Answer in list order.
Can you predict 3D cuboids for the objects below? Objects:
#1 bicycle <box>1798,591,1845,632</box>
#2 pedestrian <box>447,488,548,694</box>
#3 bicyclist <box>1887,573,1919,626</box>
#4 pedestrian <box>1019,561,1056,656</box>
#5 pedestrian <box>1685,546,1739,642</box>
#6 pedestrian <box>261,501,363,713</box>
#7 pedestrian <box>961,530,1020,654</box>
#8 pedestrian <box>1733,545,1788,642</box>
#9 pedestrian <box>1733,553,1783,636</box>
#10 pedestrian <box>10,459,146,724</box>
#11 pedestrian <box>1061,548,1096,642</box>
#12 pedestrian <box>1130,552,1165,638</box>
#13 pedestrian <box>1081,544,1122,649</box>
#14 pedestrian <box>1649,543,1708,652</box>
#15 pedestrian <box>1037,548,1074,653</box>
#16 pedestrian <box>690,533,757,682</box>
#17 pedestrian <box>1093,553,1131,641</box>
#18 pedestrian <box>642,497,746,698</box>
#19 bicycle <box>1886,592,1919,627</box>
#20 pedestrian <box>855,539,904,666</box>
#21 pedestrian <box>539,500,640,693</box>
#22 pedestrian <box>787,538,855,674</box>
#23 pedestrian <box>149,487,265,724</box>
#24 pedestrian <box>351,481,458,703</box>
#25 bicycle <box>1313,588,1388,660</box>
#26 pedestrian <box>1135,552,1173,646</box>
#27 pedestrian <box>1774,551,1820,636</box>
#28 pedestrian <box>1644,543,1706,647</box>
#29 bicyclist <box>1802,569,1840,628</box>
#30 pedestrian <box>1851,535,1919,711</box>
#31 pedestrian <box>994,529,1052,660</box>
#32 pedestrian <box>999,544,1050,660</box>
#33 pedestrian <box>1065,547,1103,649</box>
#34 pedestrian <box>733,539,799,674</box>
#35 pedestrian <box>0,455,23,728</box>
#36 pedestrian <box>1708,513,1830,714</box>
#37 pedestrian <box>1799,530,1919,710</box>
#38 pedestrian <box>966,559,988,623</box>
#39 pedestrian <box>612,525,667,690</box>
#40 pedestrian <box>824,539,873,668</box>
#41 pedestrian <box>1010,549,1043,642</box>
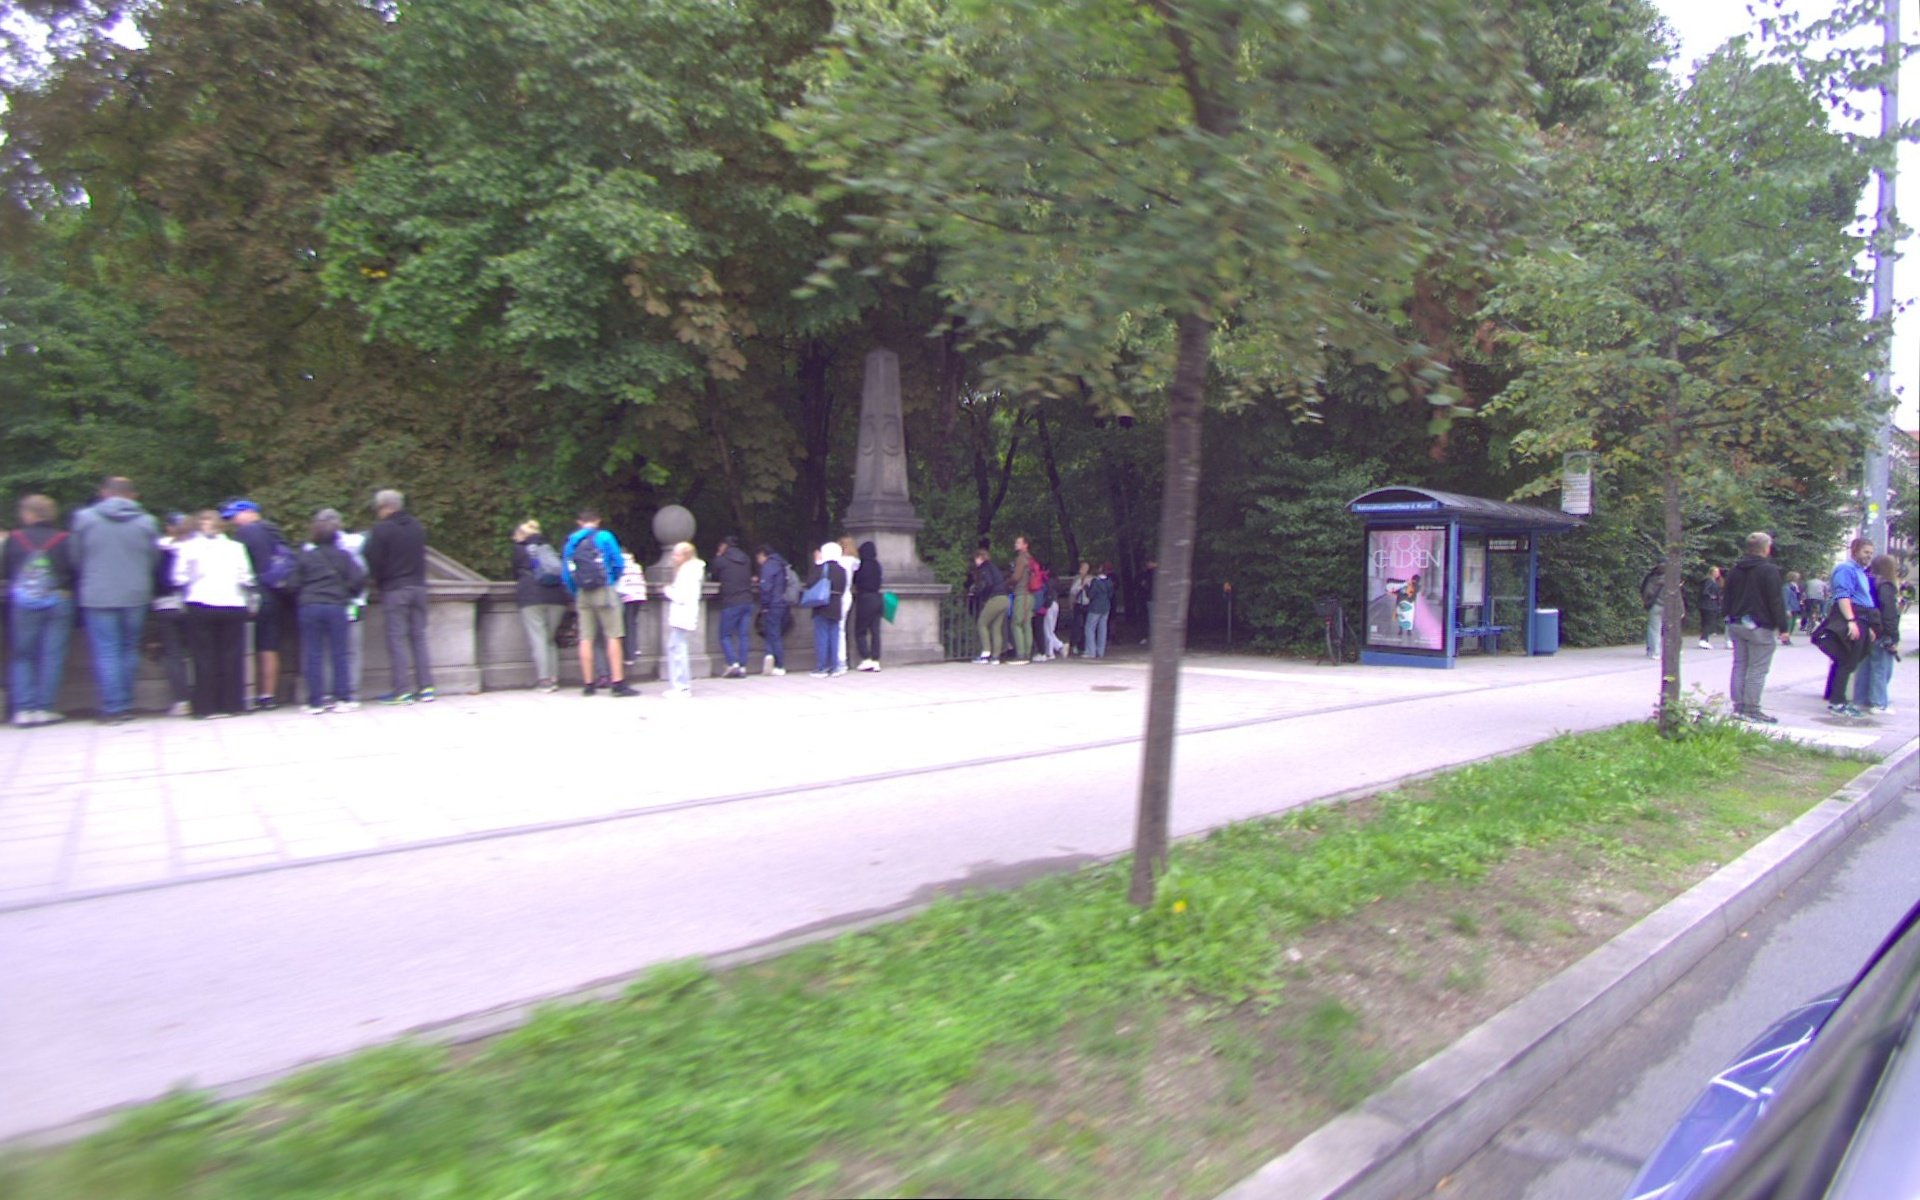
[{"bbox_3d":[23.373,0.292,27.452,1.977,1.043,0.676,-1,1,-41],"label":"bicycle"},{"bbox_3d":[-4.463,-0.093,9.749,0.715,1.875,0.814,-1,1,-37],"label":"pedestrian"},{"bbox_3d":[30.799,-0.029,33.036,0.756,1.688,0.886,0,1,41],"label":"bicyclist"},{"bbox_3d":[1.269,0.134,16.616,0.434,1.526,0.421,-1,0,-37],"label":"pedestrian"},{"bbox_3d":[15.632,-0.124,21.033,0.939,1.939,0.709,-1,1,-40],"label":"pedestrian"},{"bbox_3d":[-5.564,0.046,8.680,0.661,1.712,0.814,-1,1,-37],"label":"pedestrian"},{"bbox_3d":[0.418,-0.112,13.891,0.523,1.647,0.638,-1,1,-37],"label":"pedestrian"},{"bbox_3d":[16.379,-0.142,20.702,0.939,1.939,0.709,-1,1,-40],"label":"pedestrian"},{"bbox_3d":[18.253,-0.125,23.159,0.743,1.862,0.752,-1,1,-39],"label":"pedestrian"},{"bbox_3d":[-6.755,-0.068,7.791,0.715,1.898,0.814,-1,1,-37],"label":"pedestrian"},{"bbox_3d":[2.307,-0.106,19.756,0.522,1.790,0.639,0,0,-8],"label":"pedestrian"},{"bbox_3d":[3.974,-0.115,21.475,0.522,1.790,0.639,0,0,-8],"label":"pedestrian"},{"bbox_3d":[2.441,-0.066,17.487,0.522,1.790,0.639,0,0,-8],"label":"pedestrian"},{"bbox_3d":[12.421,-0.054,17.495,0.627,1.831,0.709,-1,1,-40],"label":"pedestrian"},{"bbox_3d":[1.599,0.009,16.910,0.434,1.725,0.421,-1,0,-37],"label":"pedestrian"},{"bbox_3d":[-2.698,0.073,11.516,0.523,1.637,0.638,-1,1,-37],"label":"pedestrian"},{"bbox_3d":[3.194,-0.067,21.346,0.522,1.790,0.639,4,0,-9],"label":"pedestrian"},{"bbox_3d":[-2.608,-0.031,9.897,0.715,1.852,0.814,-1,1,-37],"label":"pedestrian"},{"bbox_3d":[30.820,0.287,33.094,0.737,1.071,2.131,0,1,41],"label":"bicycle"},{"bbox_3d":[-1.000,0.024,12.535,0.434,1.526,0.421,-1,0,-37],"label":"pedestrian"},{"bbox_3d":[-3.639,-0.042,9.931,0.715,1.790,0.814,-1,1,-37],"label":"pedestrian"},{"bbox_3d":[-1.620,0.061,11.777,0.523,1.526,0.638,-1,1,-37],"label":"pedestrian"},{"bbox_3d":[-6.150,0.030,8.276,0.715,1.812,0.814,-1,1,-37],"label":"pedestrian"},{"bbox_3d":[-4.991,-0.076,9.083,0.715,1.875,0.814,-1,1,-37],"label":"pedestrian"},{"bbox_3d":[6.049,0.349,15.652,1.549,1.073,0.393,-1,1,-41],"label":"bicycle"},{"bbox_3d":[3.752,-0.031,19.601,0.522,1.790,0.639,0,0,-8],"label":"pedestrian"},{"bbox_3d":[18.693,-0.147,22.602,0.629,1.862,0.672,-1,1,-39],"label":"pedestrian"},{"bbox_3d":[13.045,-0.100,18.461,0.933,1.831,0.709,-1,1,-40],"label":"pedestrian"},{"bbox_3d":[23.431,-0.038,27.535,0.627,1.581,0.709,-1,1,-40],"label":"bicyclist"},{"bbox_3d":[10.092,0.233,10.861,0.627,1.831,0.709,-1,1,-40],"label":"pedestrian"},{"bbox_3d":[0.883,-0.087,14.259,0.523,1.790,0.638,-1,1,-37],"label":"pedestrian"},{"bbox_3d":[1.022,0.023,16.121,0.523,1.790,0.638,-1,1,-37],"label":"pedestrian"},{"bbox_3d":[2.215,-0.036,18.139,0.522,1.790,0.639,0,0,-8],"label":"pedestrian"},{"bbox_3d":[-2.265,0.065,11.803,0.523,1.526,0.638,-1,1,-37],"label":"pedestrian"},{"bbox_3d":[-7.324,-0.056,7.317,0.715,1.941,0.814,-1,1,-37],"label":"pedestrian"},{"bbox_3d":[7.982,0.120,10.012,0.533,1.904,0.807,0,0,-4],"label":"pedestrian"},{"bbox_3d":[9.413,0.195,10.606,0.696,1.831,0.639,0,0,-4],"label":"pedestrian"},{"bbox_3d":[0.475,-0.262,29.077,0.522,1.790,0.639,0,0,-8],"label":"pedestrian"},{"bbox_3d":[-3.457,0.074,10.913,0.434,1.725,0.421,-1,0,-39],"label":"pedestrian"},{"bbox_3d":[-1.351,0.032,12.258,0.434,1.526,0.421,-1,0,-37],"label":"pedestrian"},{"bbox_3d":[1.300,-0.101,19.843,0.522,1.790,0.639,0,0,-8],"label":"pedestrian"}]
